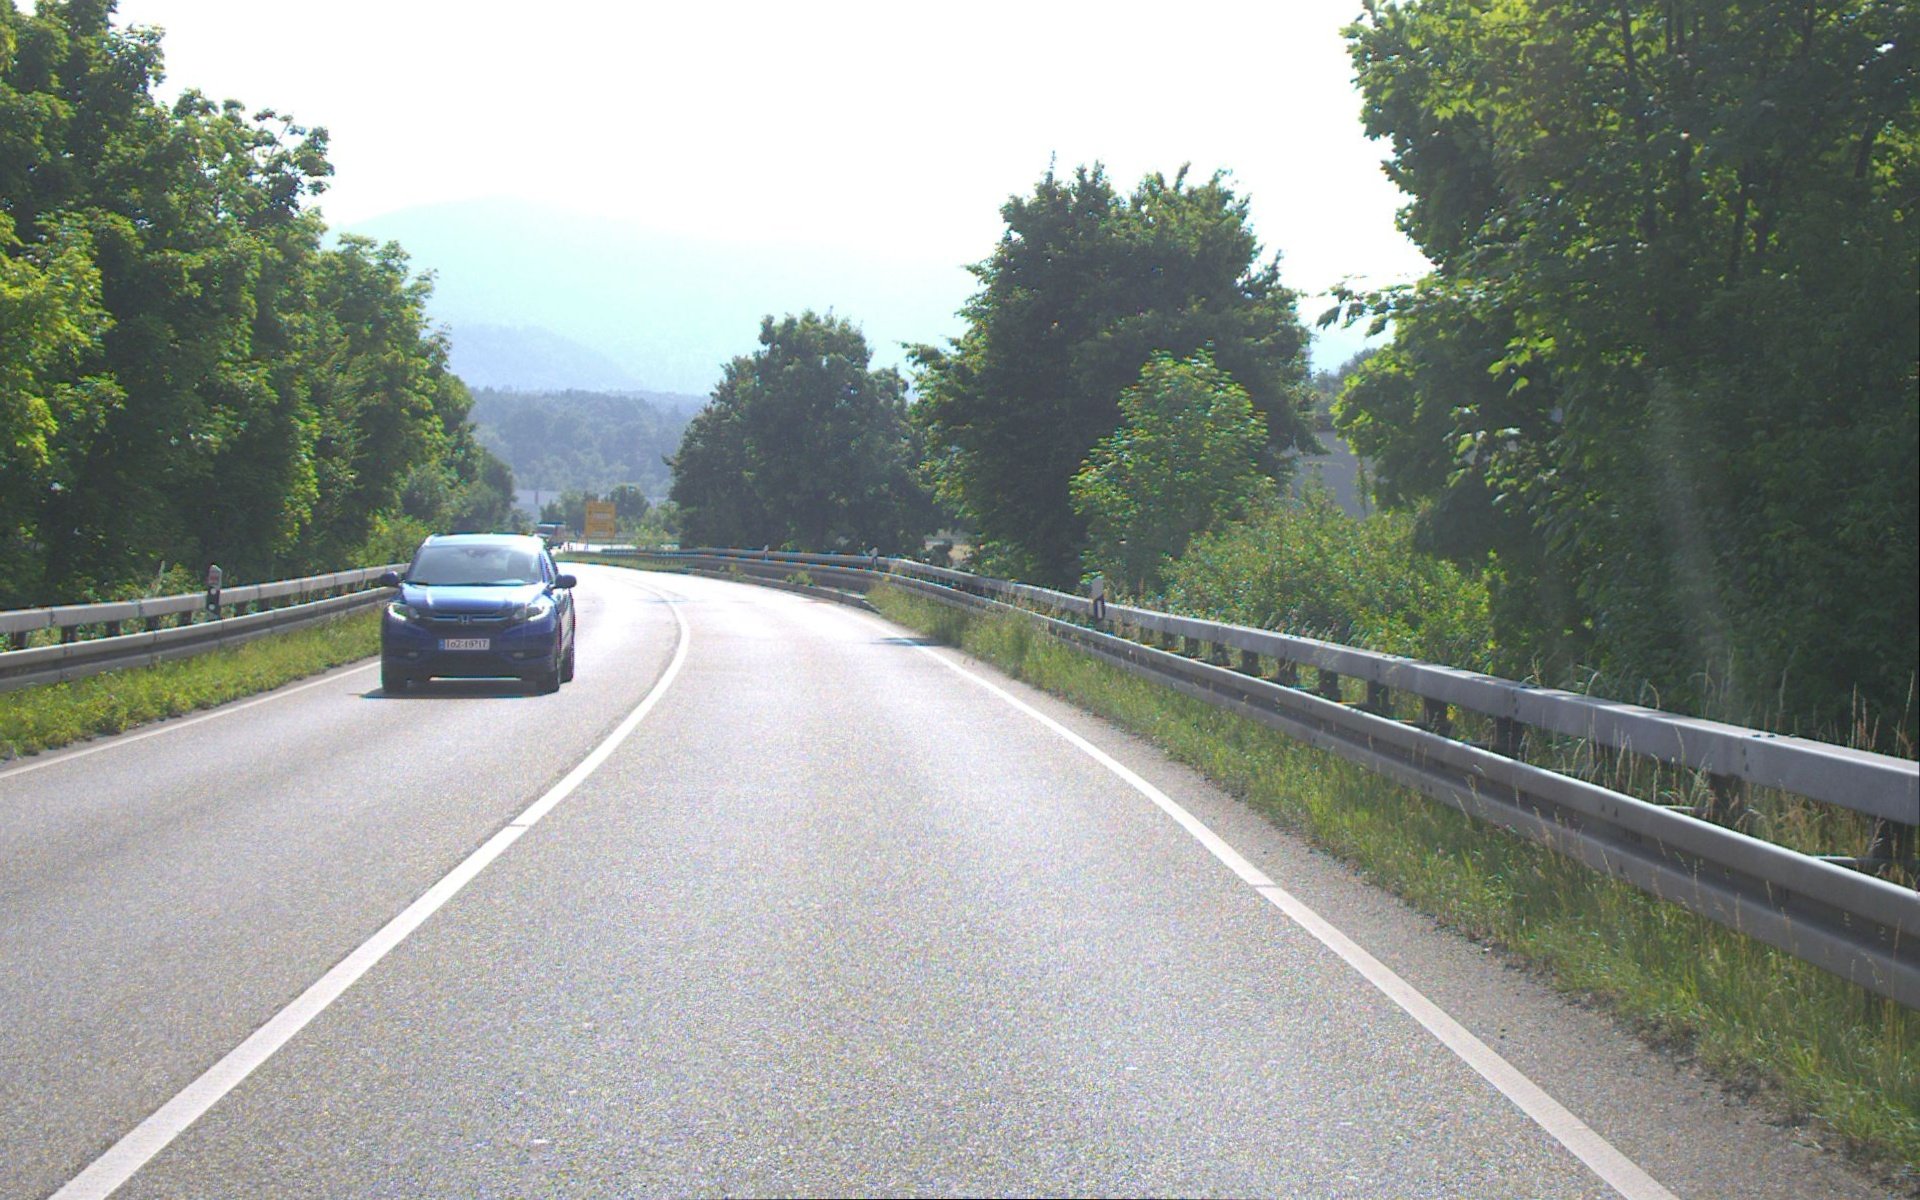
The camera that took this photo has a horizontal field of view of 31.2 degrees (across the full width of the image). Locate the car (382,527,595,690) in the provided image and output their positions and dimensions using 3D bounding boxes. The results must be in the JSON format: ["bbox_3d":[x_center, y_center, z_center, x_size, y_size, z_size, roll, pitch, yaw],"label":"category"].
[{"bbox_3d":[-4.836,0.053,35.704,1.807,1.555,3.993,-1,1,-3],"label":"car"}]
